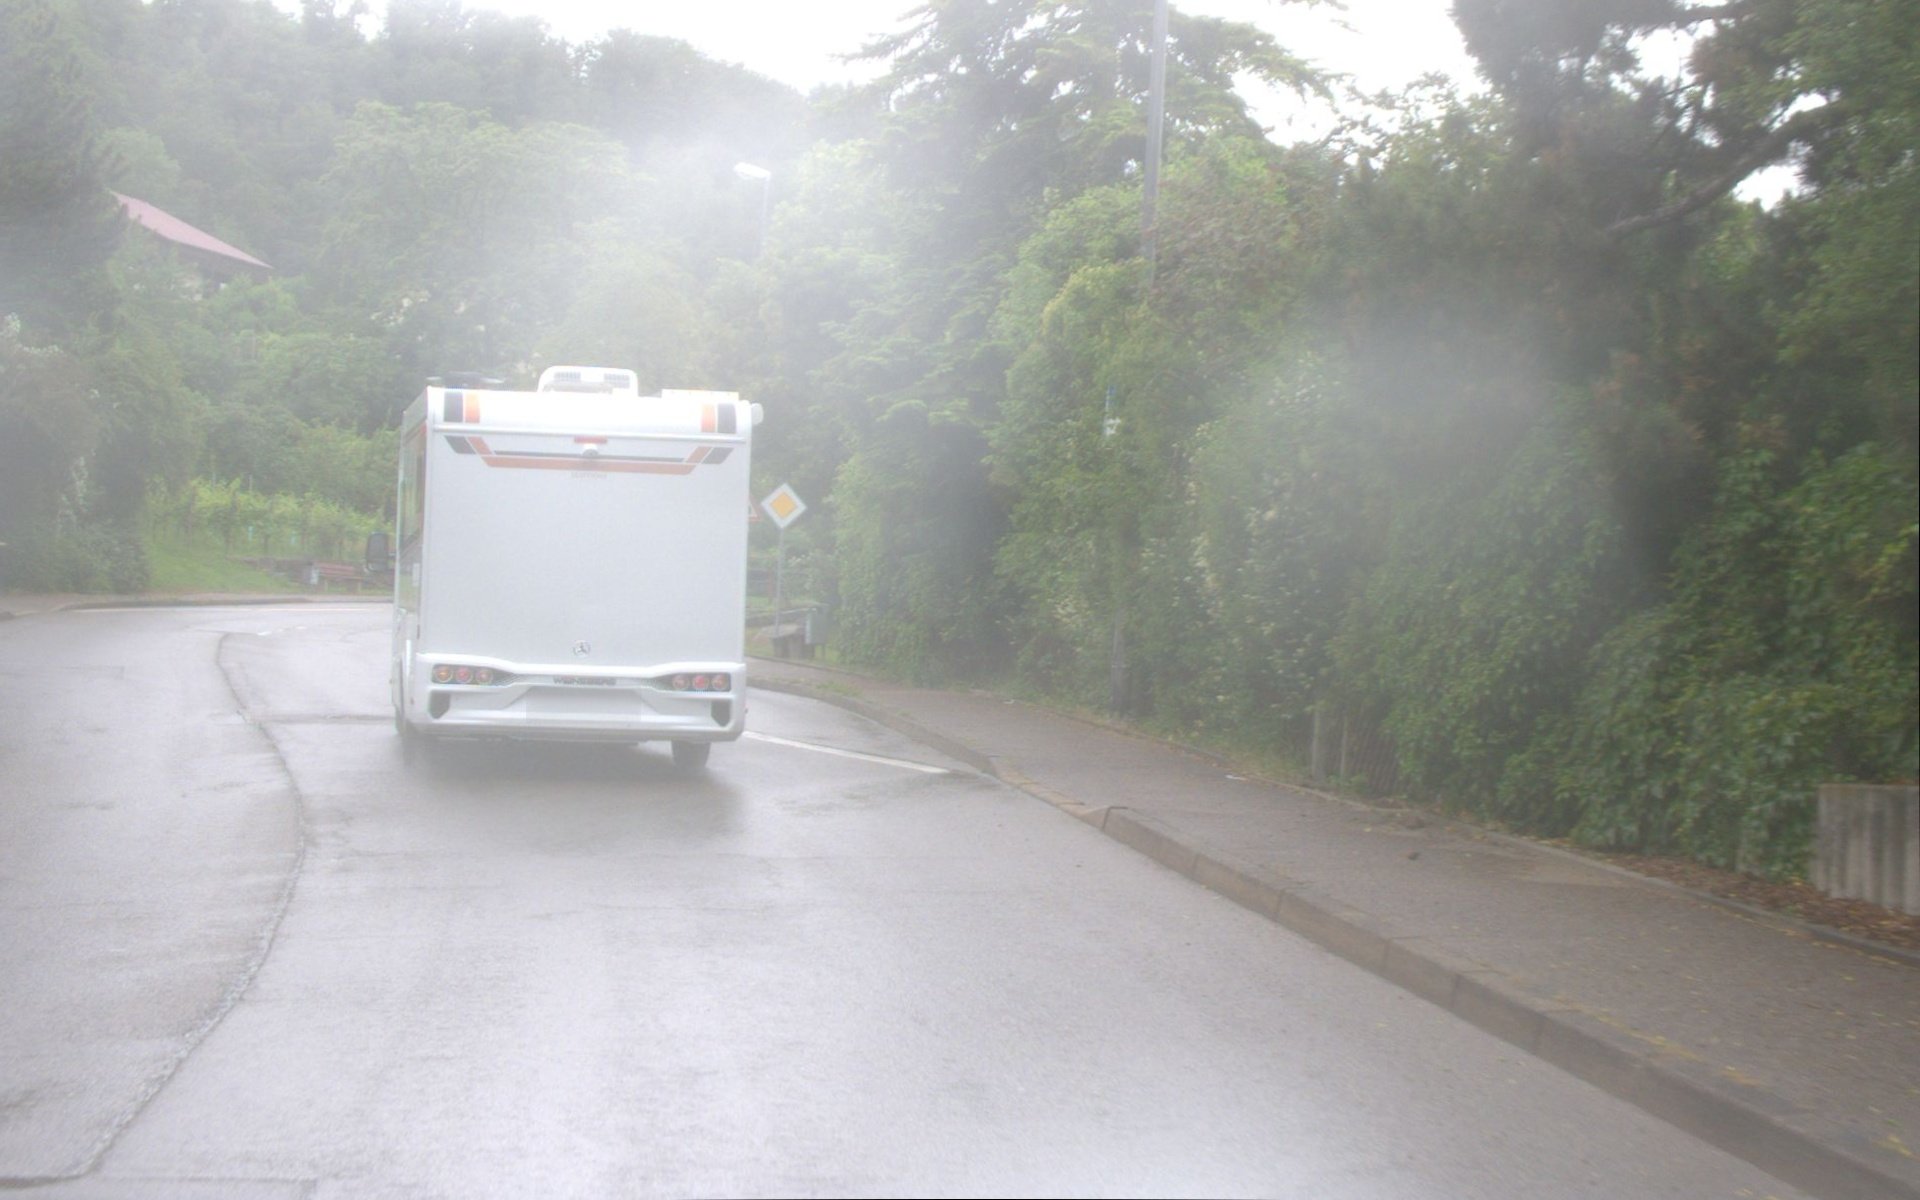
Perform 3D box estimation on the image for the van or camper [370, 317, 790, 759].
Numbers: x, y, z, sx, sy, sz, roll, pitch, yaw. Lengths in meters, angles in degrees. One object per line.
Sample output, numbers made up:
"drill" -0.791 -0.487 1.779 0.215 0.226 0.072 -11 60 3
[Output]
"van or camper" -3.041 -0.371 26.023 2.615 2.843 6.032 2 -1 -10
